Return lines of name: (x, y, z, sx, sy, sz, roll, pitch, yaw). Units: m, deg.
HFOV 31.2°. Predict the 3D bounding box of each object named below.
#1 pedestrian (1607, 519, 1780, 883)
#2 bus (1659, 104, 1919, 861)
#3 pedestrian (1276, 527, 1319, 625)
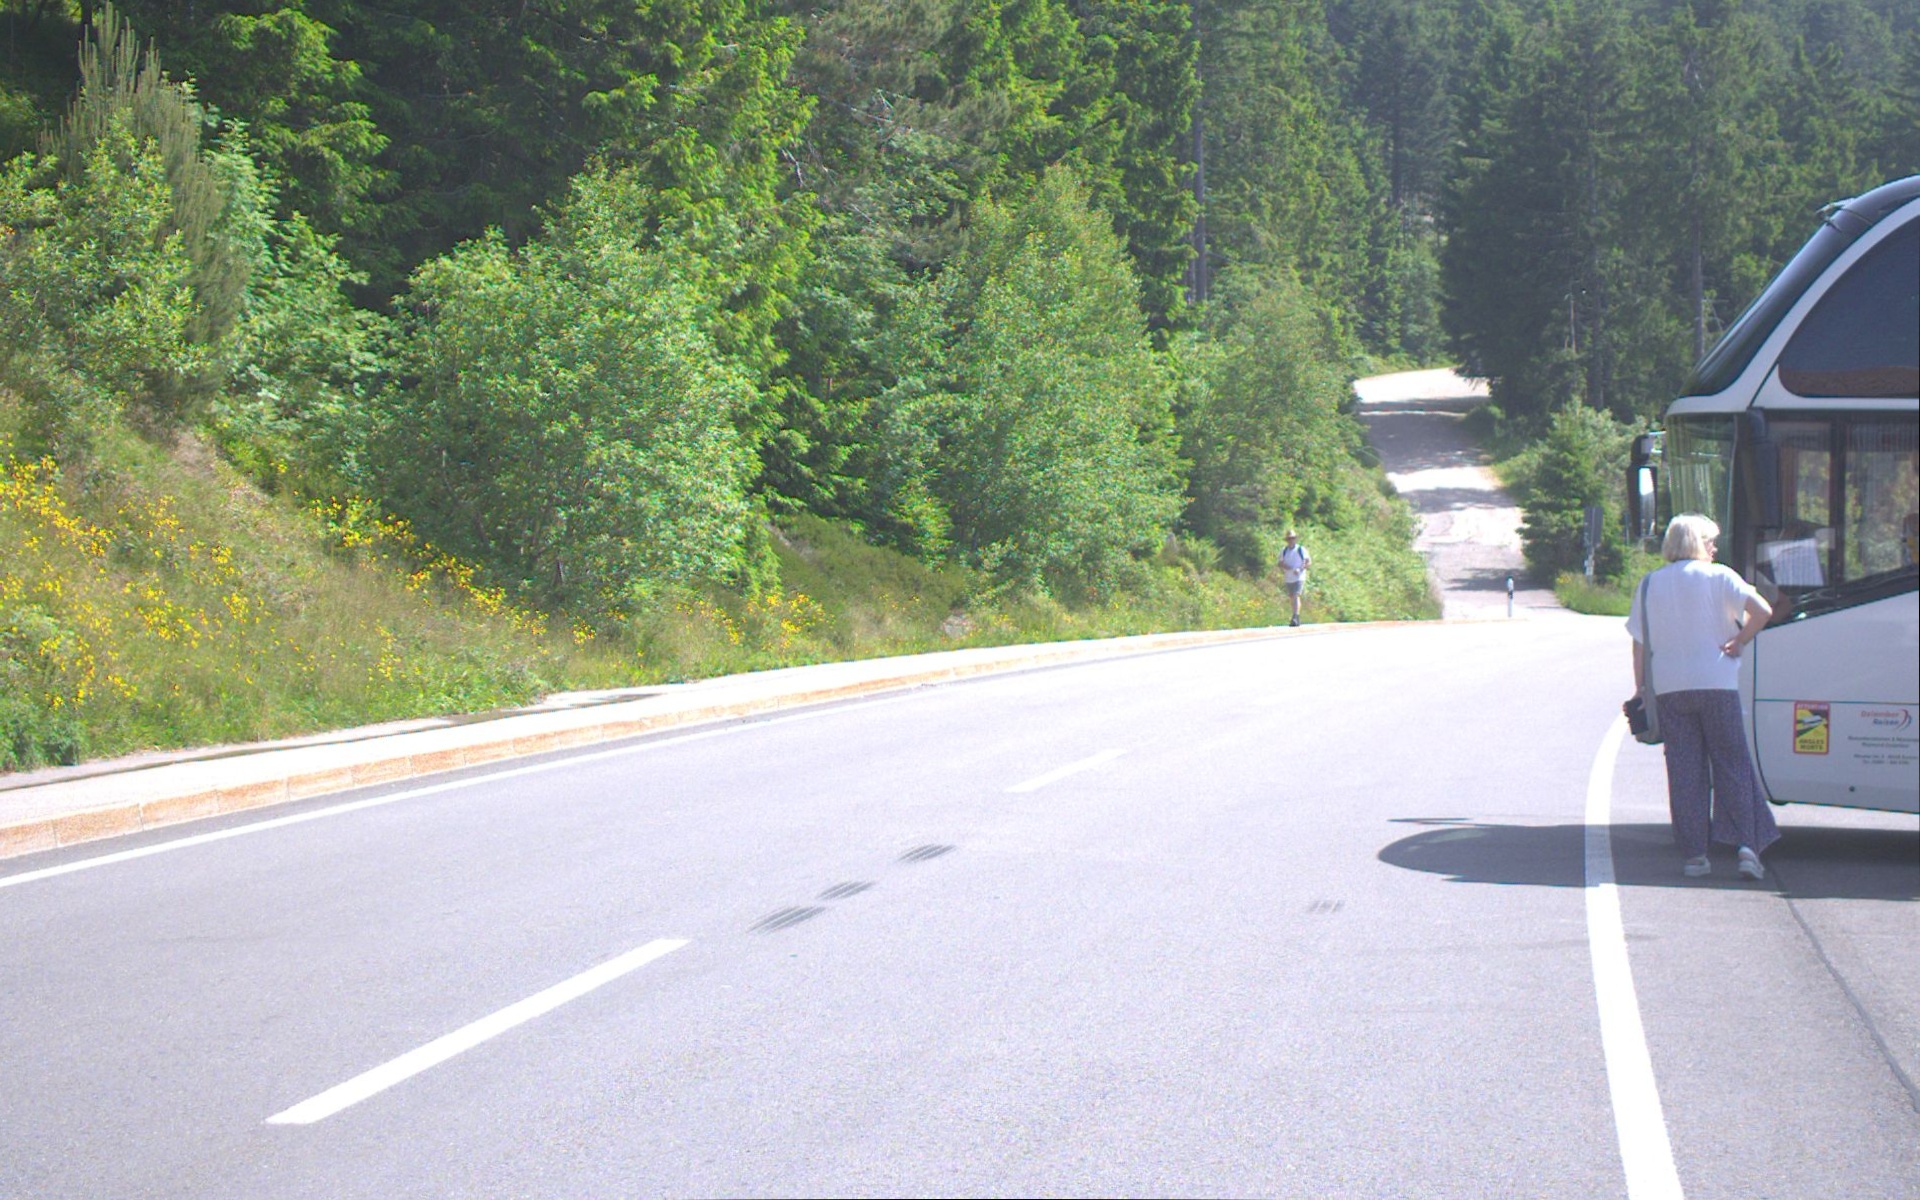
pedestrian: (3.373, 0.447, 15.863, 0.707, 1.637, 0.744, 0, 1, 6)
bus: (9.944, -0.504, 16.129, 12.856, 3.565, 2.837, 1, 1, 16)
pedestrian: (6.051, -0.433, 61.612, 0.682, 1.740, 0.825, 1, 1, 9)
